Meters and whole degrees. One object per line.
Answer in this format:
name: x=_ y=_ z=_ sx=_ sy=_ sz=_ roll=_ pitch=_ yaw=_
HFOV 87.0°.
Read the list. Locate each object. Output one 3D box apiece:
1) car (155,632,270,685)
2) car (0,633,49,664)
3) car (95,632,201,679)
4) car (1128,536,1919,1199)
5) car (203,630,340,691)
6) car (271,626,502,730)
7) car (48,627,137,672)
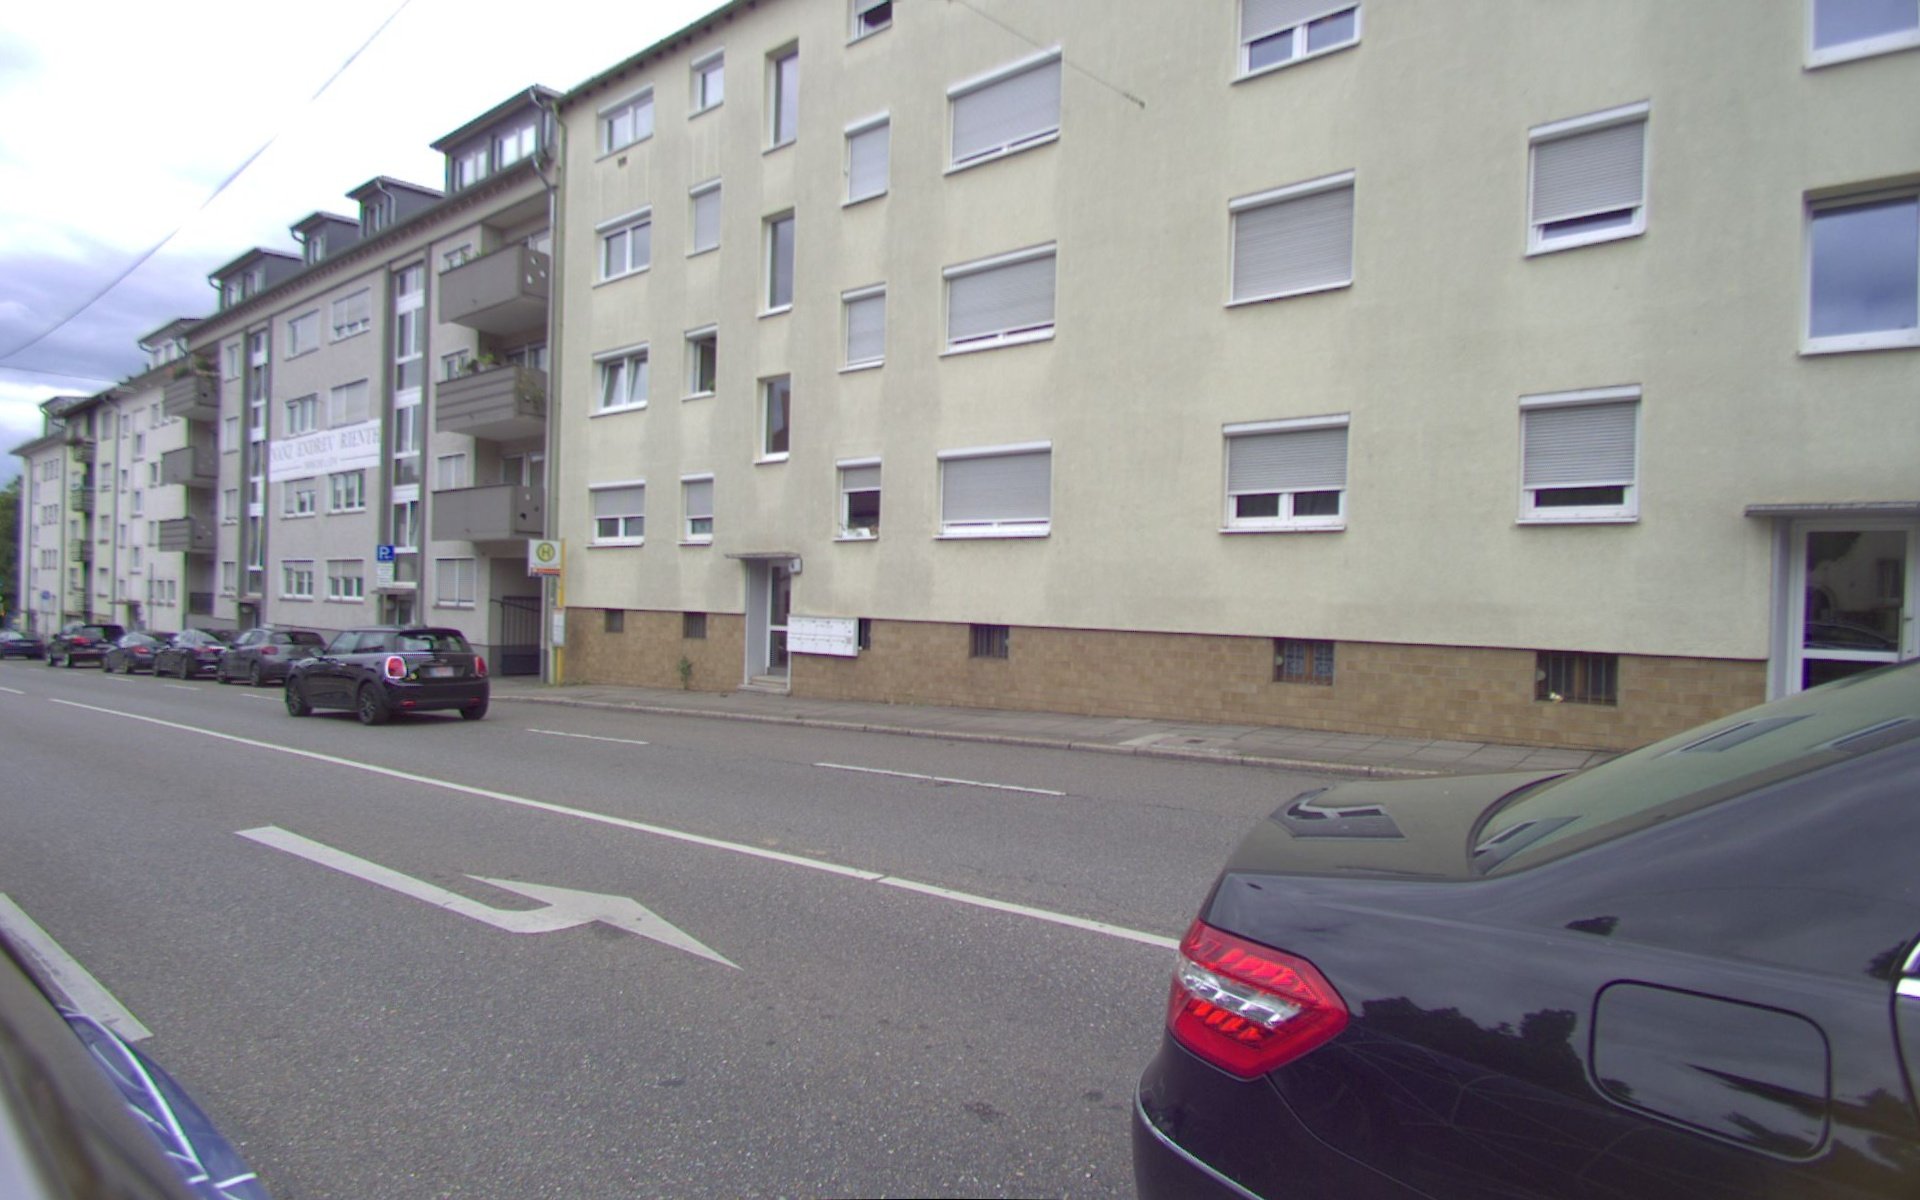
car: x=-21.445 y=1.650 z=29.004 sx=3.533 sy=1.386 sz=1.649 roll=-1 pitch=-3 yaw=36
car: x=-46.204 y=2.364 z=49.429 sx=3.752 sy=1.414 sz=1.755 roll=-1 pitch=-3 yaw=36
car: x=-26.233 y=1.762 z=32.668 sx=3.533 sy=1.414 sz=1.755 roll=-1 pitch=-3 yaw=36
car: x=2.717 y=0.649 z=0.701 sx=4.840 sy=1.440 sz=1.973 roll=-1 pitch=-2 yaw=41
car: x=-17.726 y=1.516 z=26.023 sx=3.680 sy=1.422 sz=1.755 roll=-1 pitch=-3 yaw=36
car: x=-8.929 y=1.131 z=15.689 sx=3.637 sy=1.414 sz=1.755 roll=-1 pitch=-3 yaw=36
car: x=-33.134 y=1.882 z=38.644 sx=3.533 sy=1.613 sz=1.755 roll=-1 pitch=-3 yaw=36
